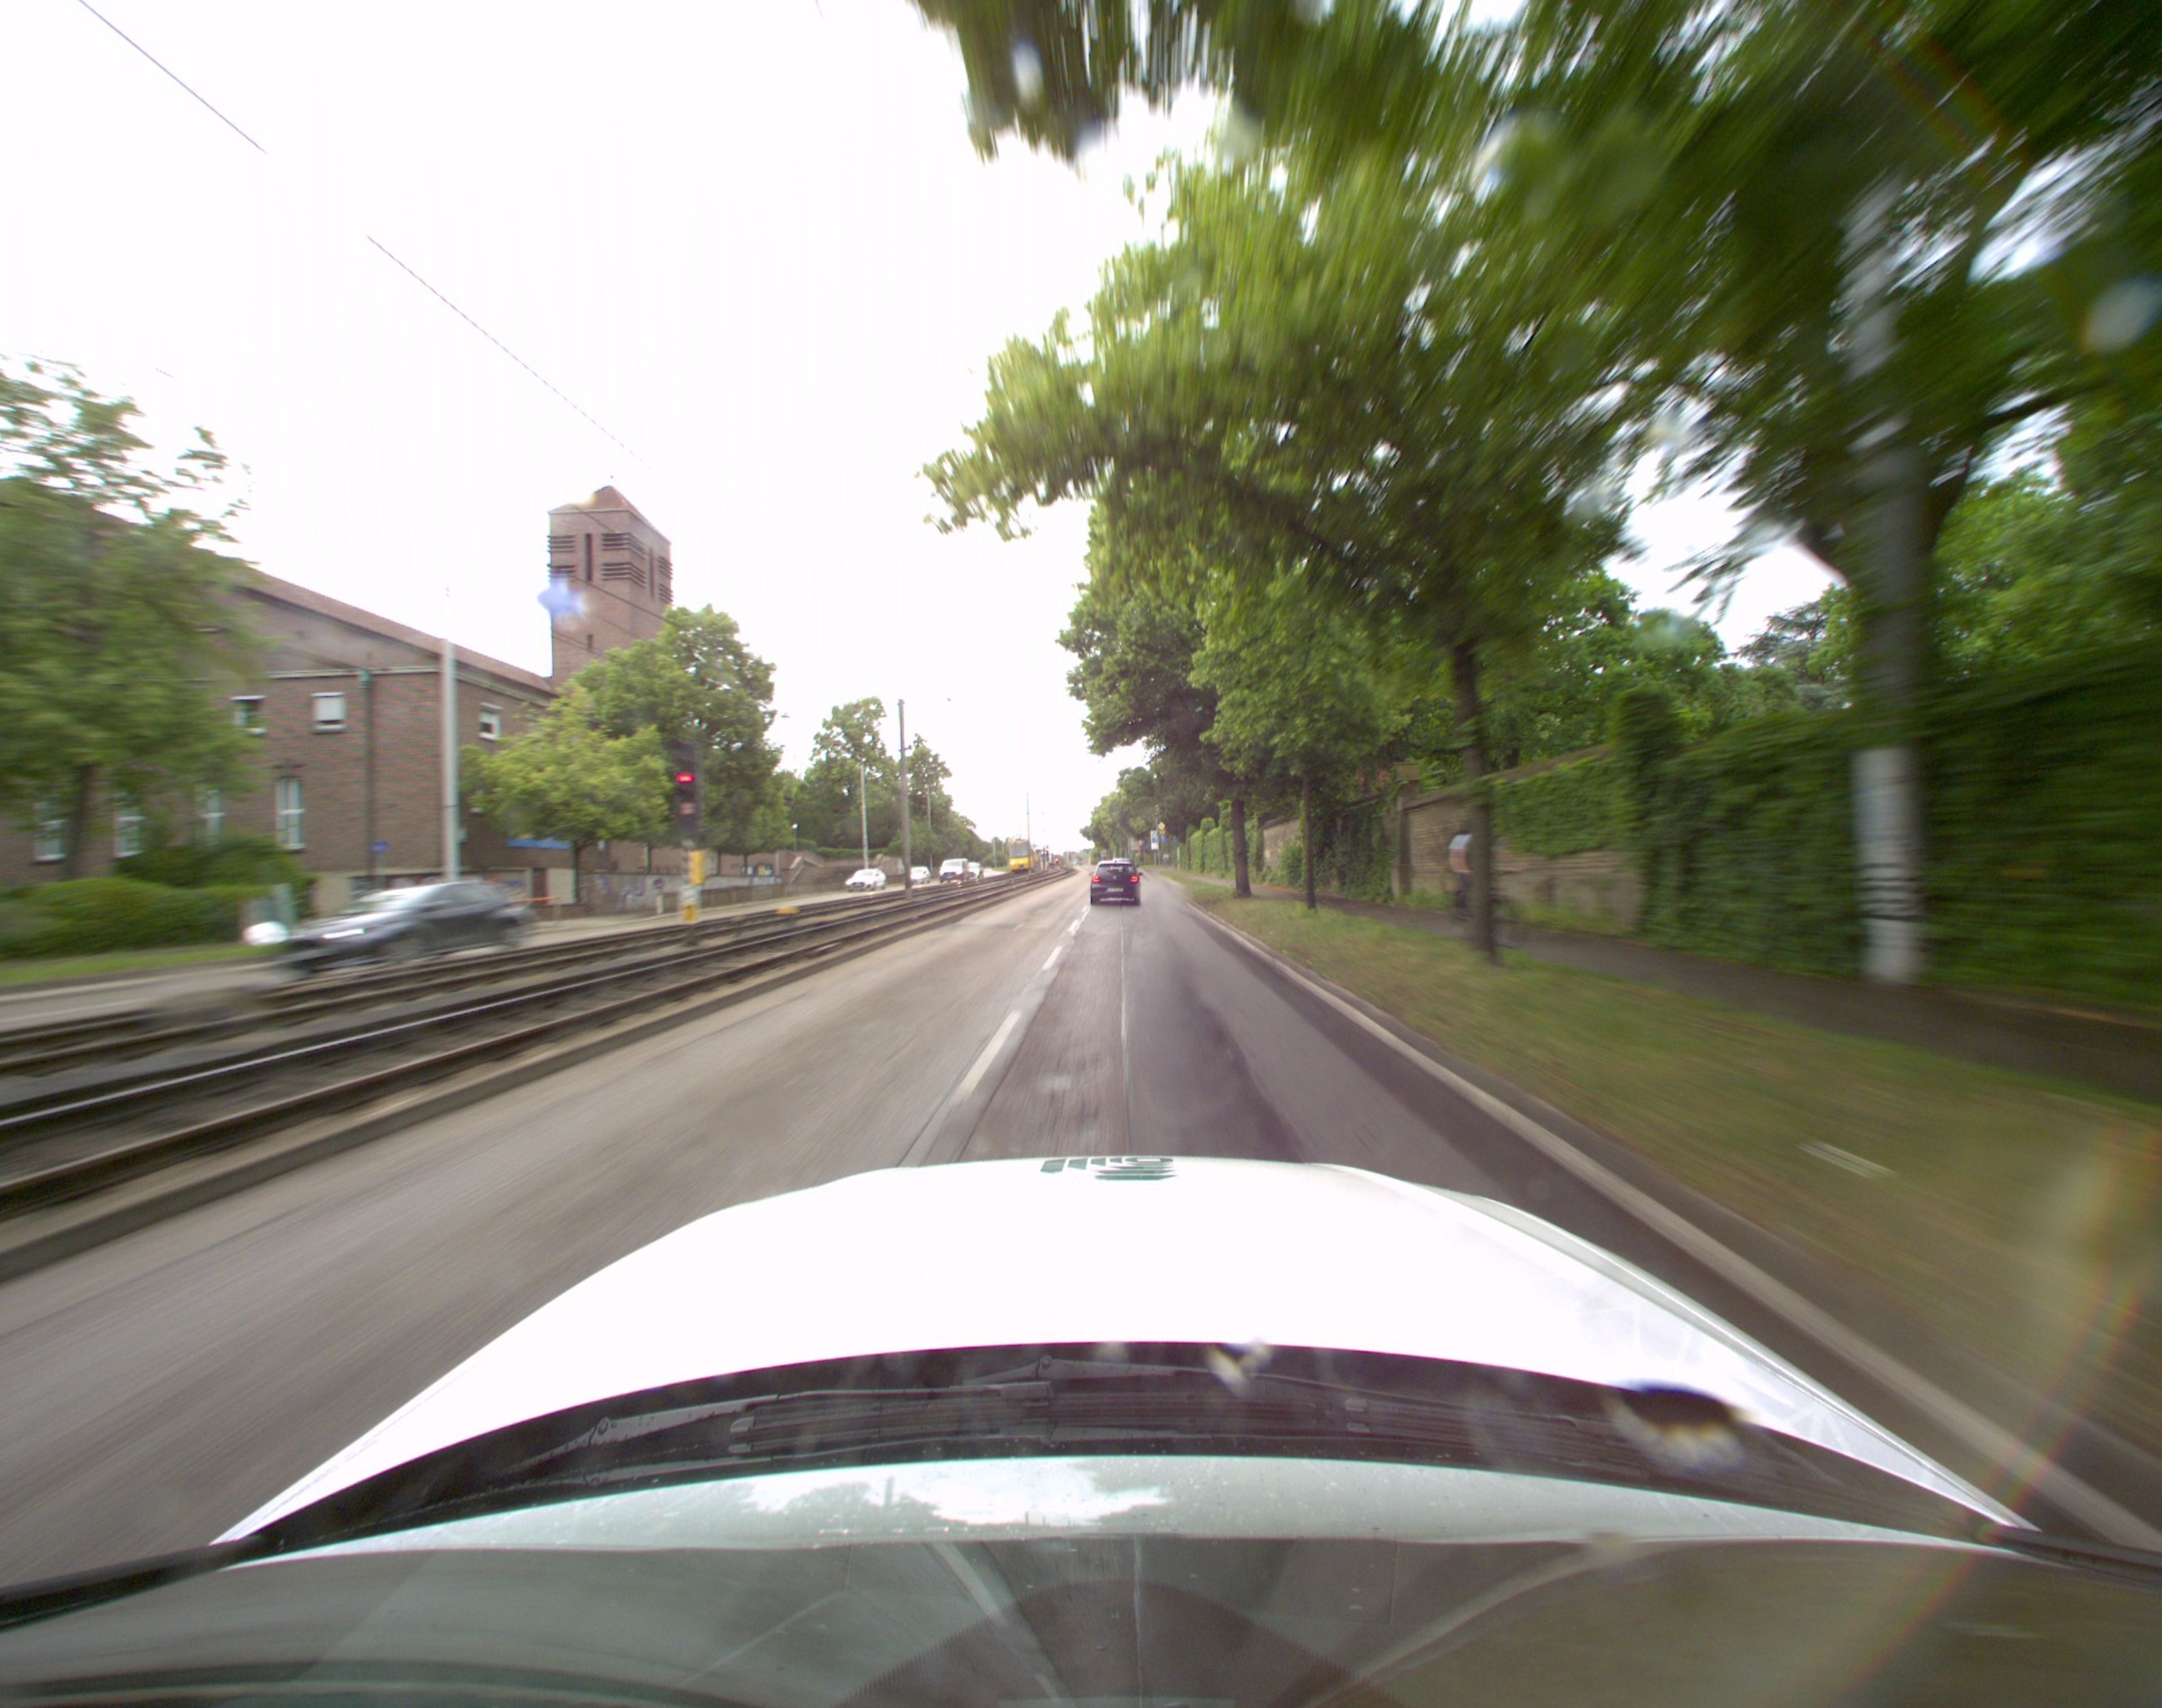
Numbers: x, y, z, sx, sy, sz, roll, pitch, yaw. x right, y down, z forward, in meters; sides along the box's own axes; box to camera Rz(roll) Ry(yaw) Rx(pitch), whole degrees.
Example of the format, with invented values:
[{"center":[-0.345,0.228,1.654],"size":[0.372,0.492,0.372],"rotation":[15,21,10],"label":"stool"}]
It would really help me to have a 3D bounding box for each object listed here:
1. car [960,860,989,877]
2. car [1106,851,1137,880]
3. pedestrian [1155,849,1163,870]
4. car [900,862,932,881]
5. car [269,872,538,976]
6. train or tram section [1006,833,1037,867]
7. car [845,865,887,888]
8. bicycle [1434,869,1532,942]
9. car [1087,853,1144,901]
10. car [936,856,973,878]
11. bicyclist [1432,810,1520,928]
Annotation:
[{"center":[-10.014,1.352,77.030],"size":[1.986,1.576,4.537],"rotation":[-1,0,2],"label":"car"},{"center":[2.360,0.653,47.108],"size":[1.669,1.531,3.724],"rotation":[-2,0,3],"label":"car"},{"center":[11.189,0.815,116.819],"size":[1.159,2.977,0.948],"rotation":[-1,0,1],"label":"pedestrian"},{"center":[-13.919,1.462,68.882],"size":[1.722,1.443,4.002],"rotation":[-1,0,2],"label":"car"},{"center":[-12.042,1.162,14.820],"size":[1.674,1.461,3.611],"rotation":[-4,0,3],"label":"car"},{"center":[-6.623,-0.432,91.874],"size":[2.823,3.605,9.267],"rotation":[-1,0,-1],"label":"train or tram section"},{"center":[-14.261,1.465,54.223],"size":[1.610,1.434,4.002],"rotation":[-1,0,2],"label":"car"},{"center":[5.727,0.694,11.720],"size":[0.406,0.902,2.100],"rotation":[-2,0,2],"label":"bicycle"},{"center":[1.132,0.733,27.855],"size":[1.787,1.485,3.965],"rotation":[-1,0,1],"label":"car"},{"center":[-10.292,1.003,66.563],"size":[1.986,1.662,5.129],"rotation":[-1,0,2],"label":"car"},{"center":[5.721,0.214,11.846],"size":[0.760,1.616,0.999],"rotation":[-2,0,2],"label":"bicyclist"}]
